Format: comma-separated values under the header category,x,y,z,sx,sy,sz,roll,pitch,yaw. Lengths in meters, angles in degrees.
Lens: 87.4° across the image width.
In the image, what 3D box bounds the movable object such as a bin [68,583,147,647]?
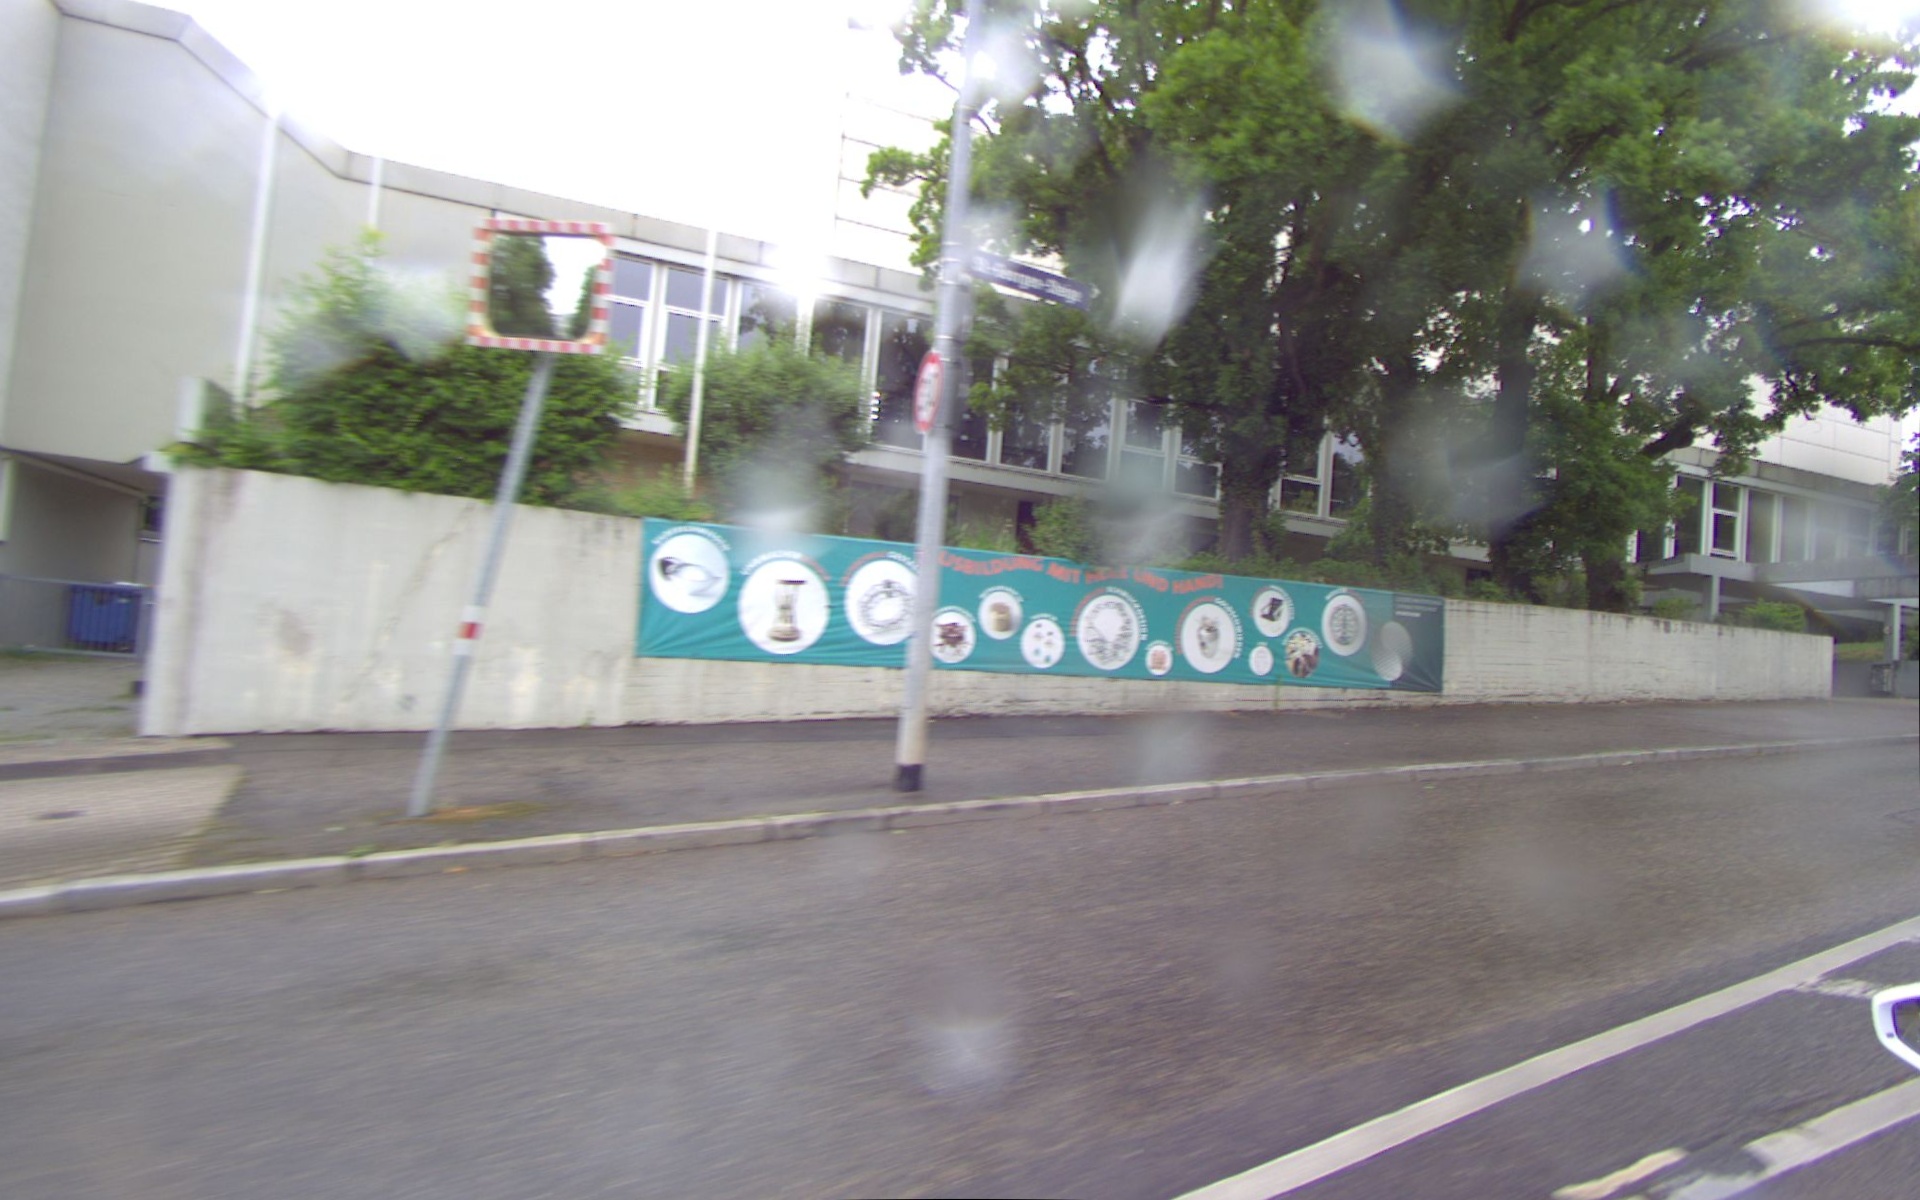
category,x,y,z,sx,sy,sz,roll,pitch,yaw
movable object such as a bin,-16.027,0.294,18.911,0.999,1.163,0.465,2,-1,-24

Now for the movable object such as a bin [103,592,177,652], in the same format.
category,x,y,z,sx,sy,sz,roll,pitch,yaw
movable object such as a bin,-16.346,0.442,20.040,0.999,1.163,0.465,2,-1,-24

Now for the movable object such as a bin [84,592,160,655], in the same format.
category,x,y,z,sx,sy,sz,roll,pitch,yaw
movable object such as a bin,-16.183,0.460,19.421,0.999,1.163,0.465,2,-1,-24
